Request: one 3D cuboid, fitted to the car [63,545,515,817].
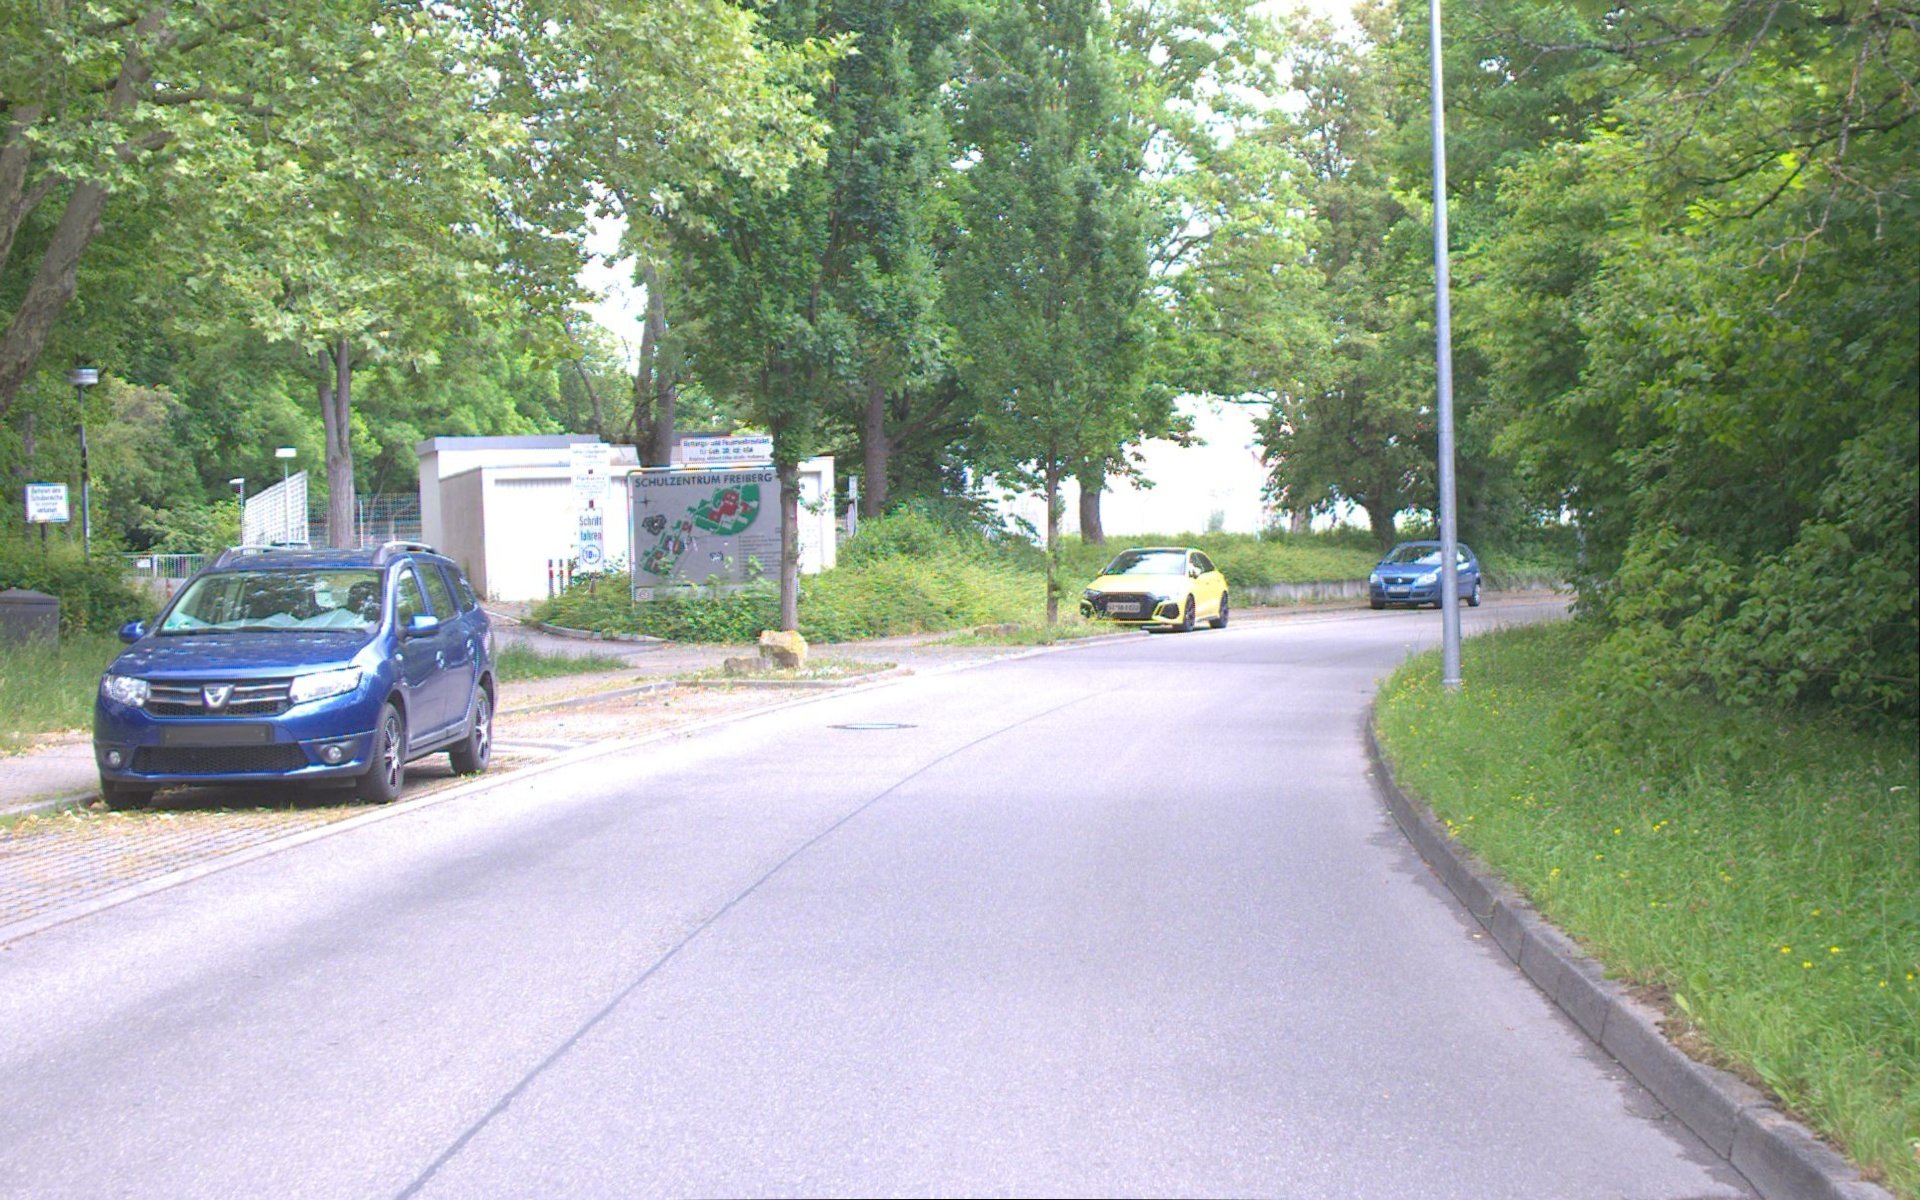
[{"bbox_3d":[-4.051,0.422,21.476,1.680,1.506,4.431,-1,1,4],"label":"car"}]

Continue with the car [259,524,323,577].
[{"bbox_3d":[-22.903,-1.713,117.830,1.872,1.740,4.001,-2,1,-8],"label":"car"}]

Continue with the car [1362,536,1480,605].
[{"bbox_3d":[10.155,-0.664,75.502,1.535,1.454,3.715,0,1,25],"label":"car"}]

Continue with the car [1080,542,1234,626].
[{"bbox_3d":[3.414,-0.292,58.979,1.701,1.398,4.270,0,1,17],"label":"car"}]
